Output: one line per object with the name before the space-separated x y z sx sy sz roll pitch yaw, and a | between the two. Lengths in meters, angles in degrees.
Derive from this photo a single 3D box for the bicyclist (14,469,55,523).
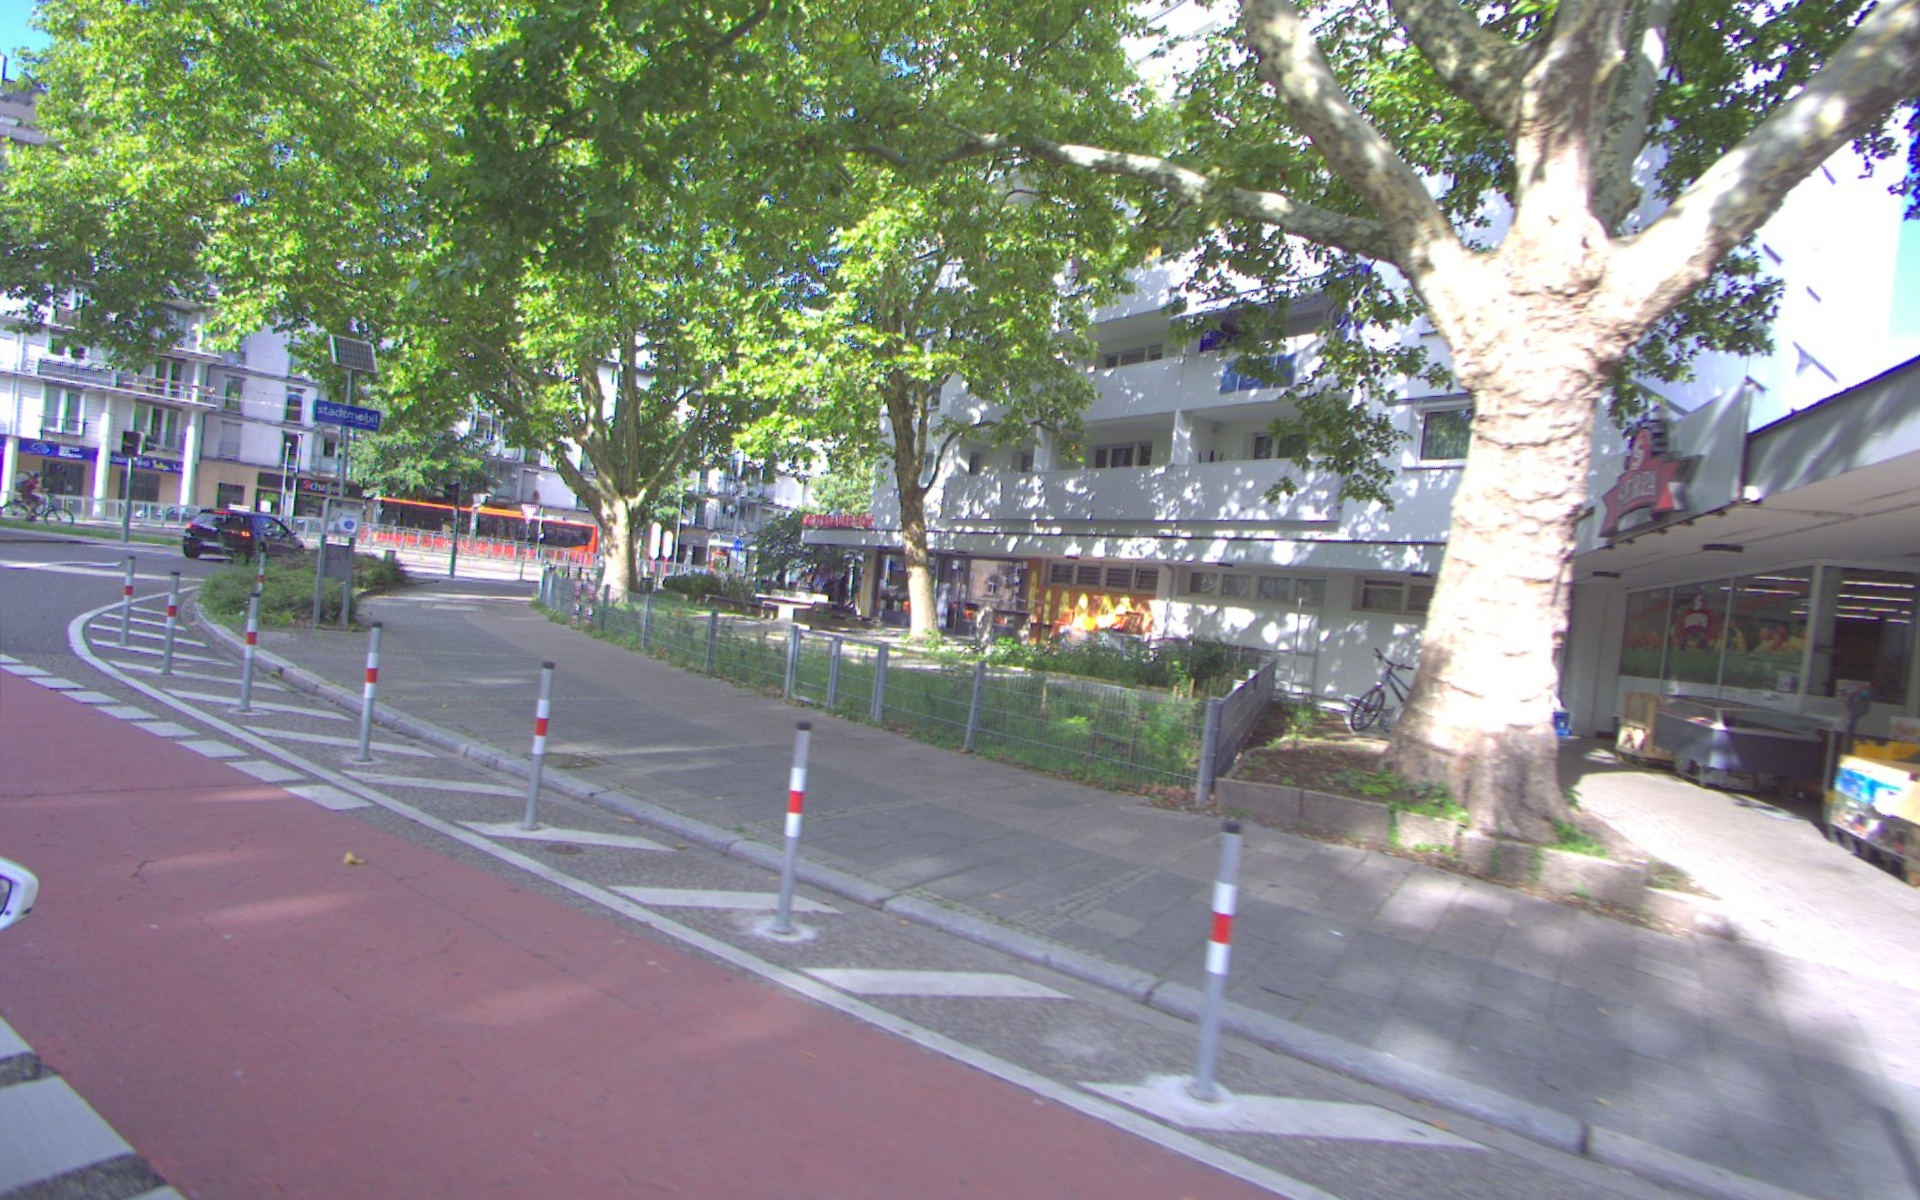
bicyclist | -29.780 -3.346 32.384 0.774 1.599 0.619 6 2 -35

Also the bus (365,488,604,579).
bus | -27.676 -3.797 59.181 12.196 3.593 2.997 7 1 -37

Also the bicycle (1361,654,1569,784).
bicycle | 5.692 1.320 11.455 0.742 1.051 1.838 12 0 -34

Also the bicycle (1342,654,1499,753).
bicycle | 6.443 1.425 14.168 1.821 1.085 0.692 7 2 17

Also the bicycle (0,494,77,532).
bicycle | -29.757 -2.805 32.449 1.818 0.967 0.567 6 1 -34

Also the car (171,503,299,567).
car | -20.277 -1.762 28.331 1.732 1.431 3.982 7 0 -19
